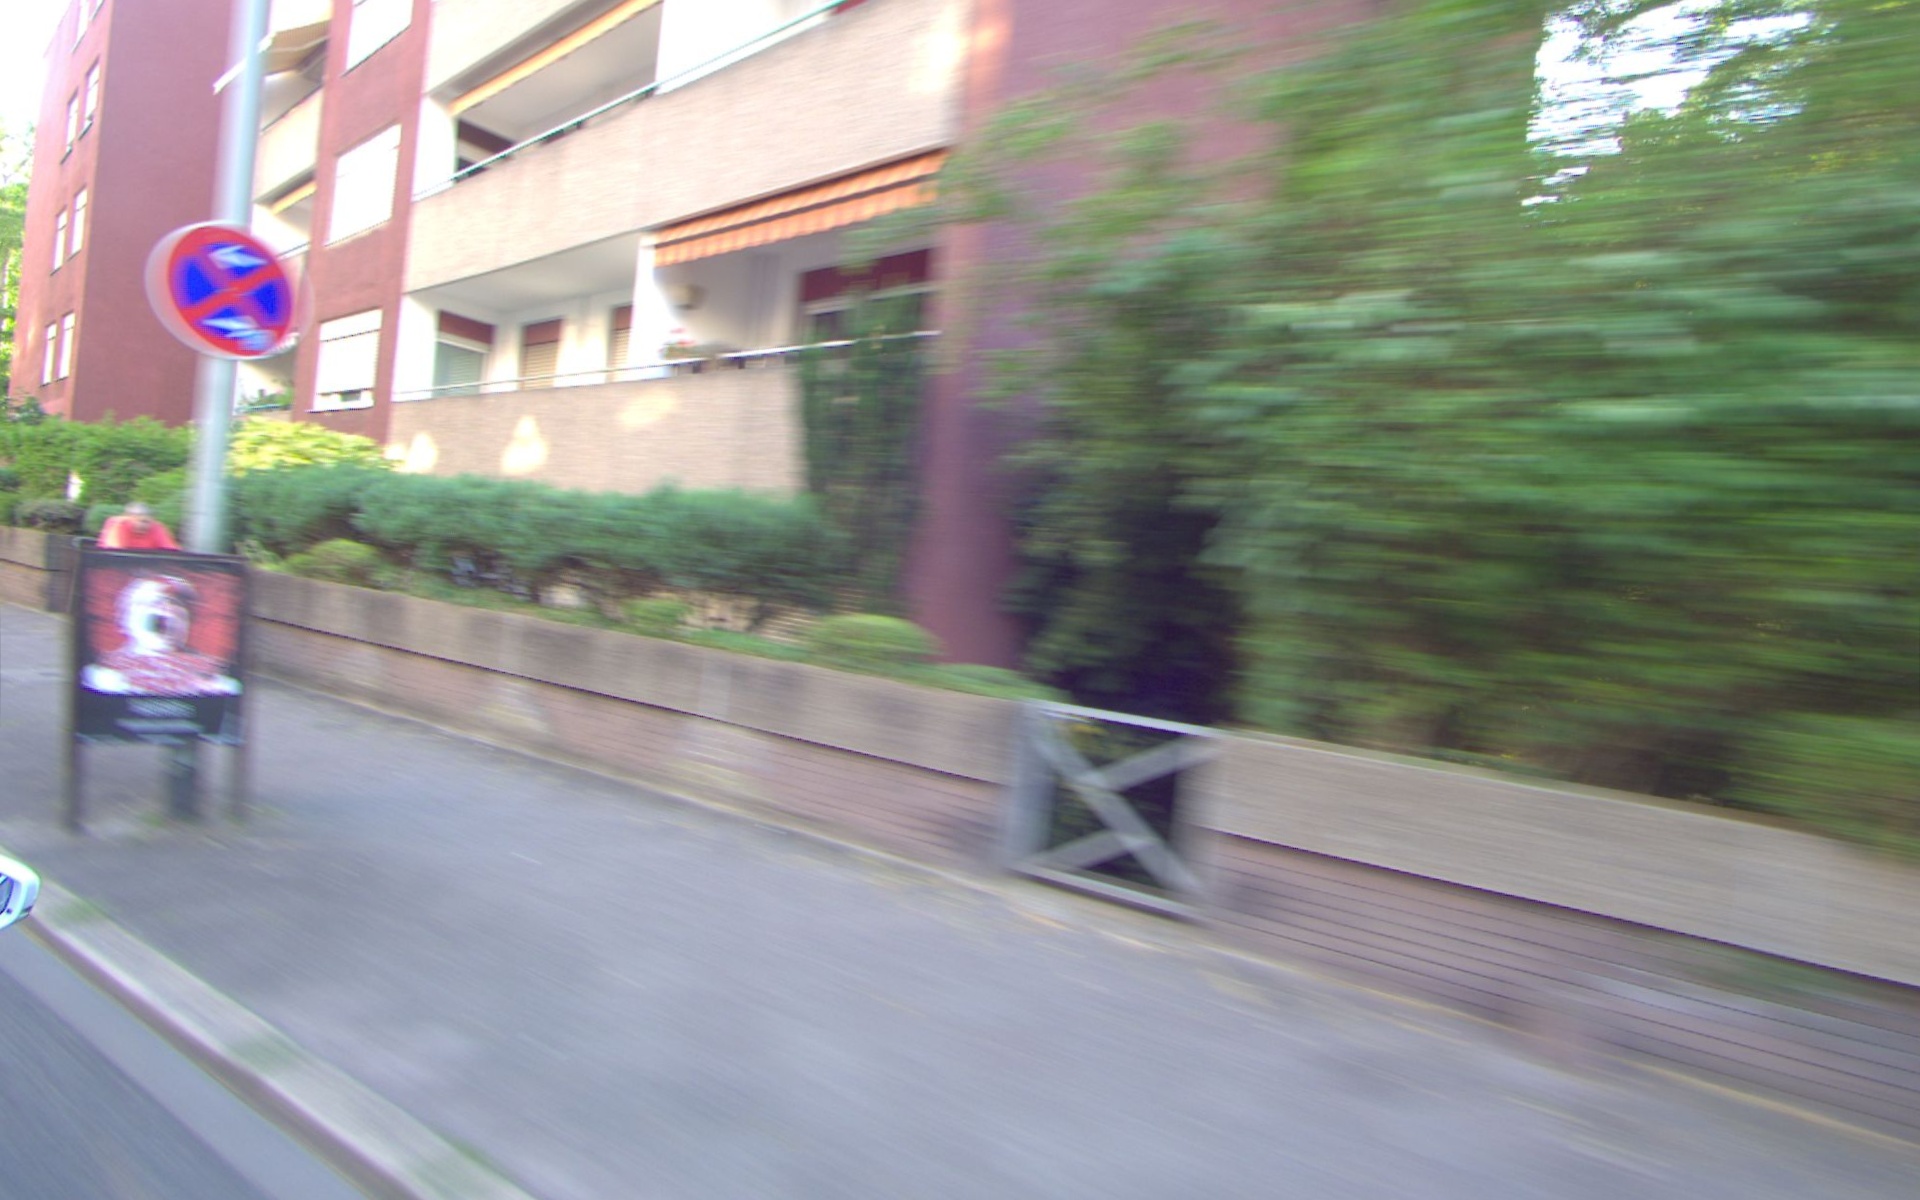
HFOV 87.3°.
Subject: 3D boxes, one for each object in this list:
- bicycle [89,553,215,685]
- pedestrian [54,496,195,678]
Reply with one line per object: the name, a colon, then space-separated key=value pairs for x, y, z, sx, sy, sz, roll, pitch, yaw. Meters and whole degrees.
bicycle: x=-6.585 y=0.165 z=8.206 sx=0.484 sy=0.982 sz=0.567 roll=8 pitch=0 yaw=29
pedestrian: x=-7.058 y=-0.098 z=8.508 sx=0.657 sy=1.420 sz=0.599 roll=8 pitch=0 yaw=30
